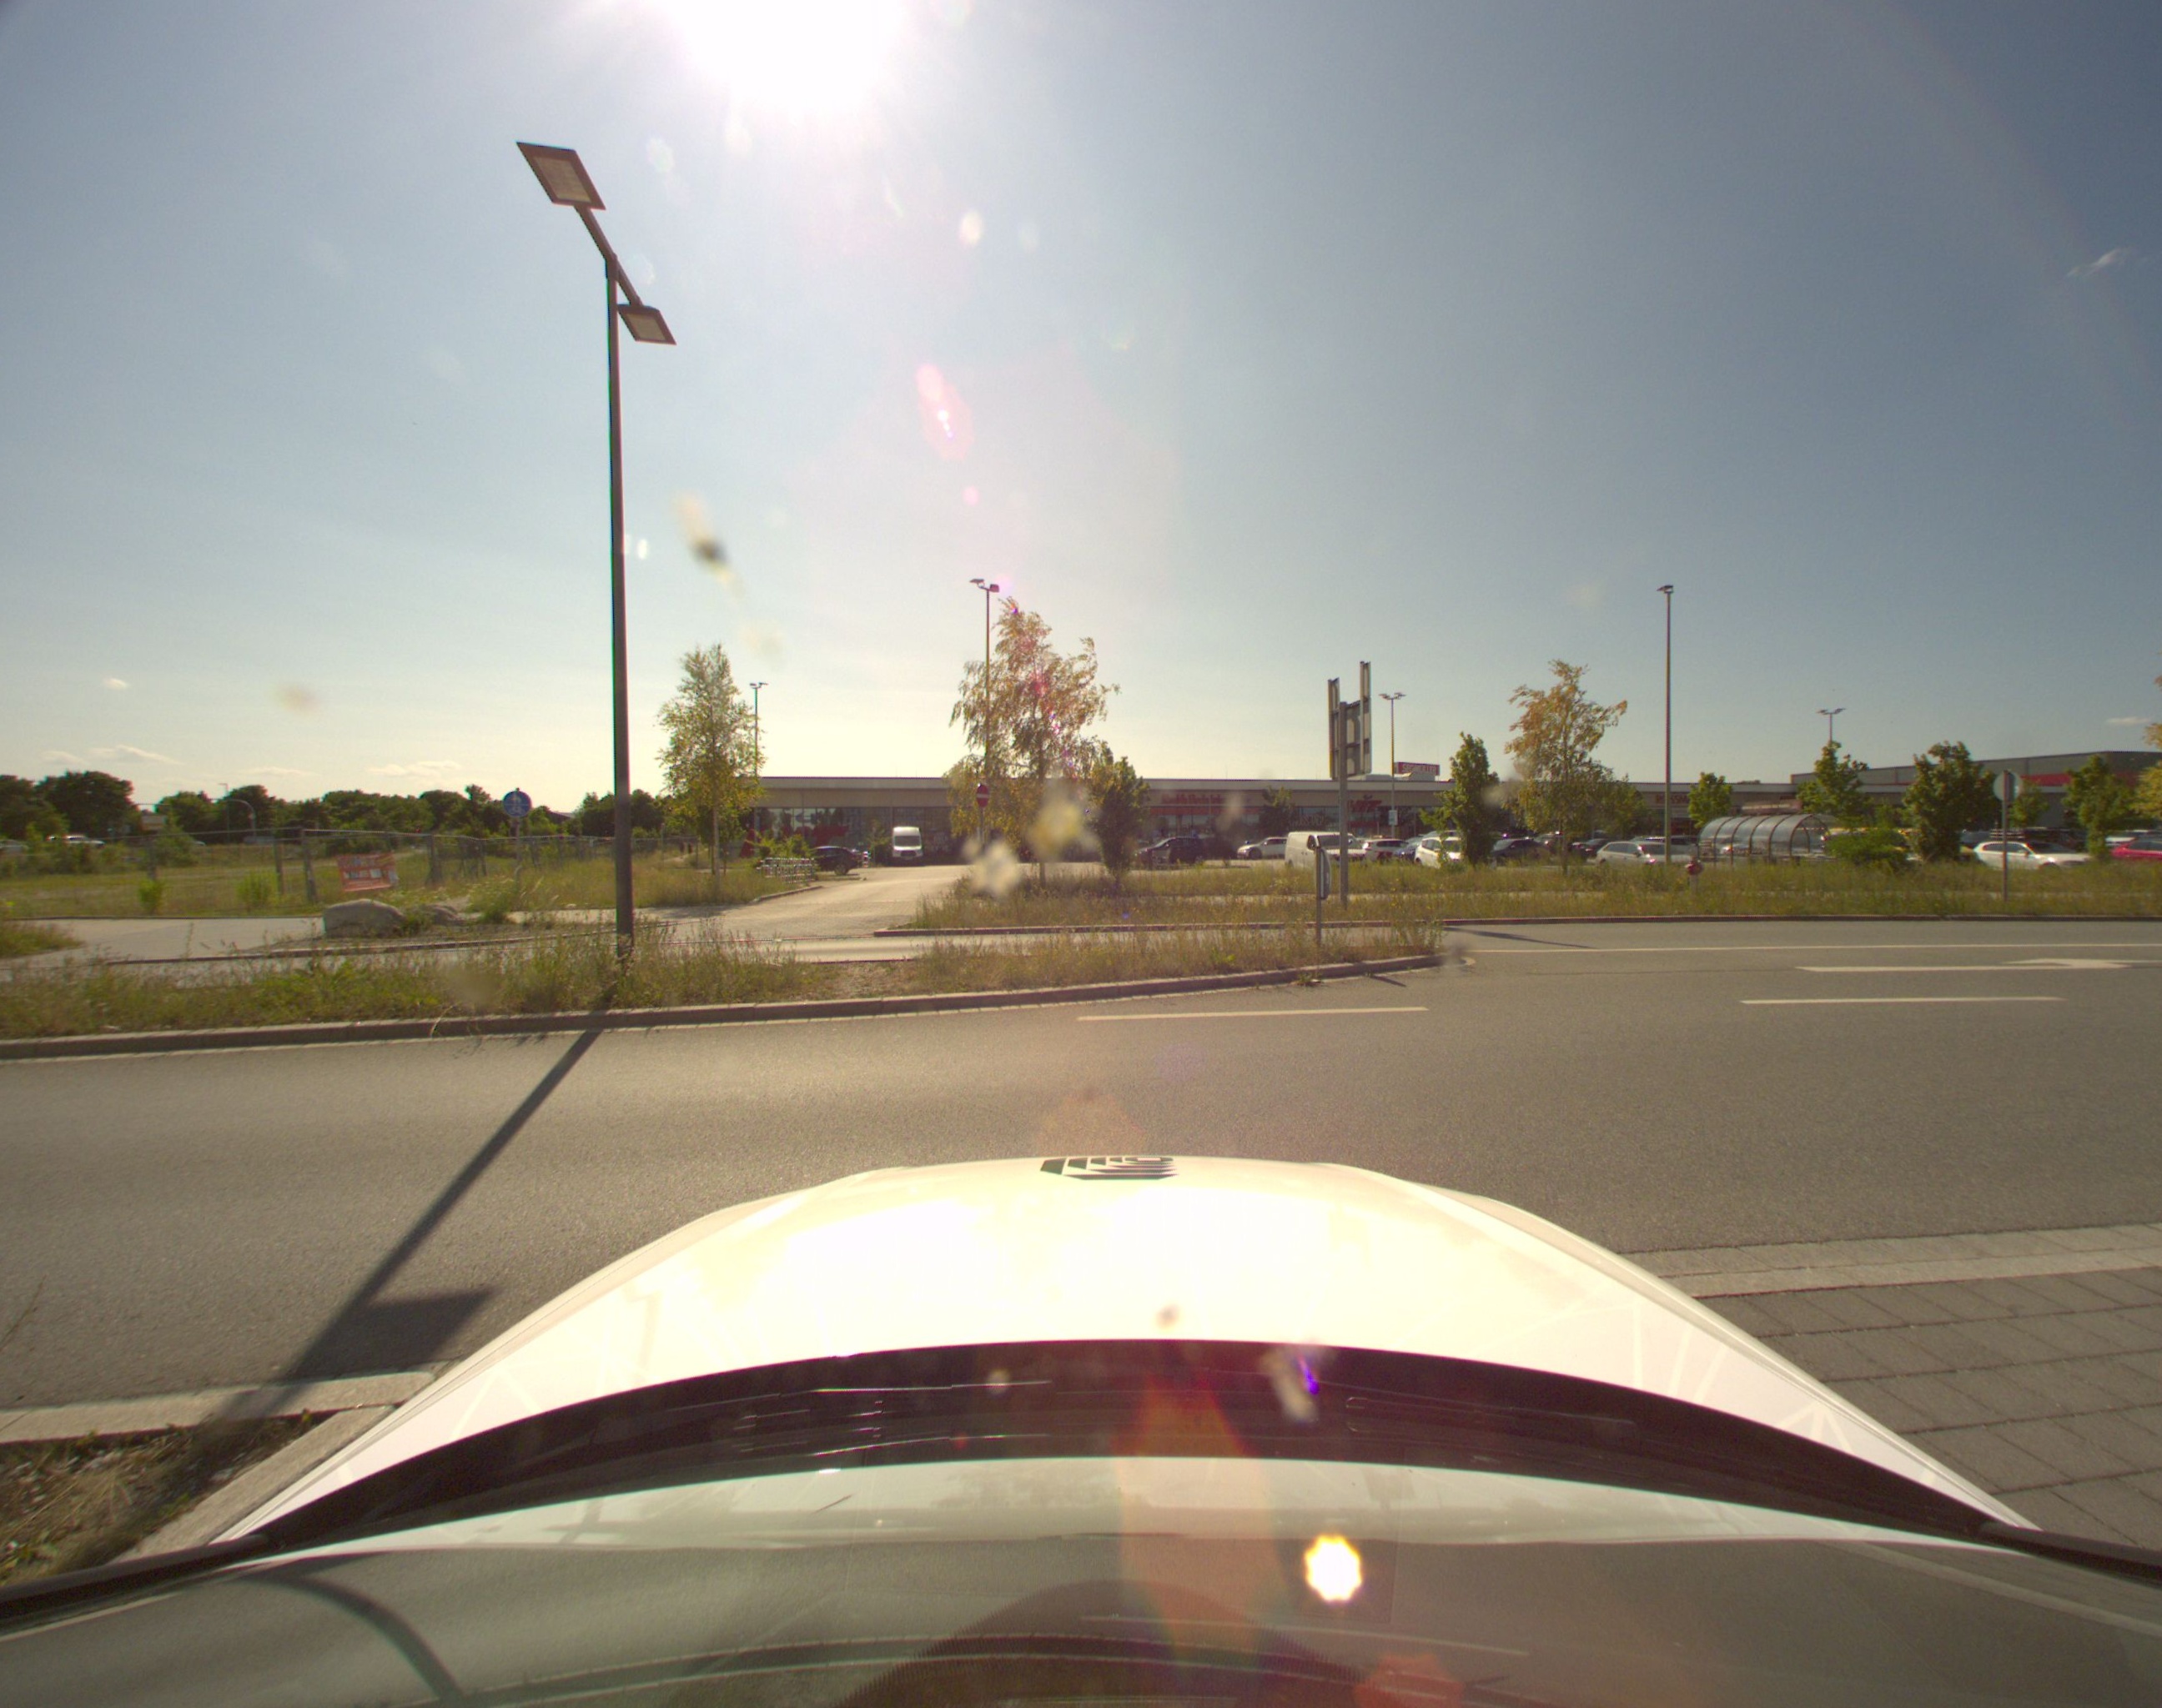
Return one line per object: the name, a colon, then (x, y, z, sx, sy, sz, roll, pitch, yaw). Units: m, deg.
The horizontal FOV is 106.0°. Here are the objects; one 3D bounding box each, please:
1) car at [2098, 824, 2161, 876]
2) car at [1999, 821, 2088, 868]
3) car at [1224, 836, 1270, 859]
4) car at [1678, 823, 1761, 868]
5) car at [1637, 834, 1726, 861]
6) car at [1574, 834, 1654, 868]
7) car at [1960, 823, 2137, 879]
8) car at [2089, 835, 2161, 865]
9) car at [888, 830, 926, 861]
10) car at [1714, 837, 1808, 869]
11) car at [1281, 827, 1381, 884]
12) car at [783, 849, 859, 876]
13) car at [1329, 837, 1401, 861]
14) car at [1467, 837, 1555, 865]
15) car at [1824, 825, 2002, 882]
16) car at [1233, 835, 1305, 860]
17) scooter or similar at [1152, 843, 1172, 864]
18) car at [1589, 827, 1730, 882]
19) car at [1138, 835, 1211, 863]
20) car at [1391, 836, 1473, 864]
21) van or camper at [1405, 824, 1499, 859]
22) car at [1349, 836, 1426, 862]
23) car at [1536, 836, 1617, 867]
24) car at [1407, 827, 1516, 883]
car: (42.172, -0.155, 31.071, 1.866, 2.013, 4.148, 0, 1, 8)
car: (59.141, -0.589, 50.062, 4.481, 2.821, 1.989, 0, 0, -17)
car: (12.483, -0.516, 61.319, 1.995, 1.707, 3.984, -1, 1, -12)
car: (40.716, -0.538, 51.953, 4.481, 2.821, 1.989, 0, 0, -17)
car: (35.161, -0.389, 47.714, 4.335, 1.520, 1.650, 0, 0, -9)
car: (34.463, -0.207, 52.659, 4.481, 2.191, 1.989, 0, 0, -17)
car: (37.340, -0.148, 31.638, 1.928, 2.013, 4.418, 0, 1, 6)
car: (72.116, -0.289, 55.813, 4.472, 2.037, 1.993, 0, 0, -11)
car: (-12.182, -0.603, 56.707, 2.226, 1.977, 6.663, -1, 1, -15)
car: (41.008, -0.086, 49.146, 4.472, 1.863, 1.993, 0, 0, -11)
car: (9.604, 0.012, 31.796, 2.076, 2.013, 5.223, 0, 1, -3)
car: (-14.121, 0.422, 44.483, 3.839, 1.423, 1.763, 0, 0, -15)
car: (16.986, -0.324, 48.733, 3.725, 1.390, 1.724, -1, 1, -15)
car: (23.734, -0.182, 45.011, 3.987, 1.508, 1.869, 0, 0, -10)
car: (32.312, -0.066, 31.911, 2.147, 2.013, 5.125, 0, 1, 6)
car: (12.999, -0.472, 56.422, 4.468, 1.706, 1.869, 0, 0, -8)
scooter or similar: (4.413, -0.026, 44.358, 0.942, 1.079, 0.651, -1, 1, -7)
car: (22.598, -0.034, 32.129, 2.148, 2.013, 5.121, 0, 1, 3)
car: (5.296, -0.301, 46.221, 3.795, 1.508, 1.726, -1, 1, -11)
car: (18.650, -0.228, 43.310, 3.725, 1.390, 1.724, -1, 1, -15)
van or camper: (22.911, -0.793, 50.354, 5.034, 2.013, 1.994, -1, 1, -9)
car: (17.184, -0.281, 45.696, 3.725, 1.390, 1.724, -1, 1, -15)
car: (33.866, -0.185, 55.700, 4.465, 2.102, 1.995, 0, 0, -7)
car: (14.806, -0.006, 32.080, 2.148, 2.013, 5.121, 0, 1, 3)
